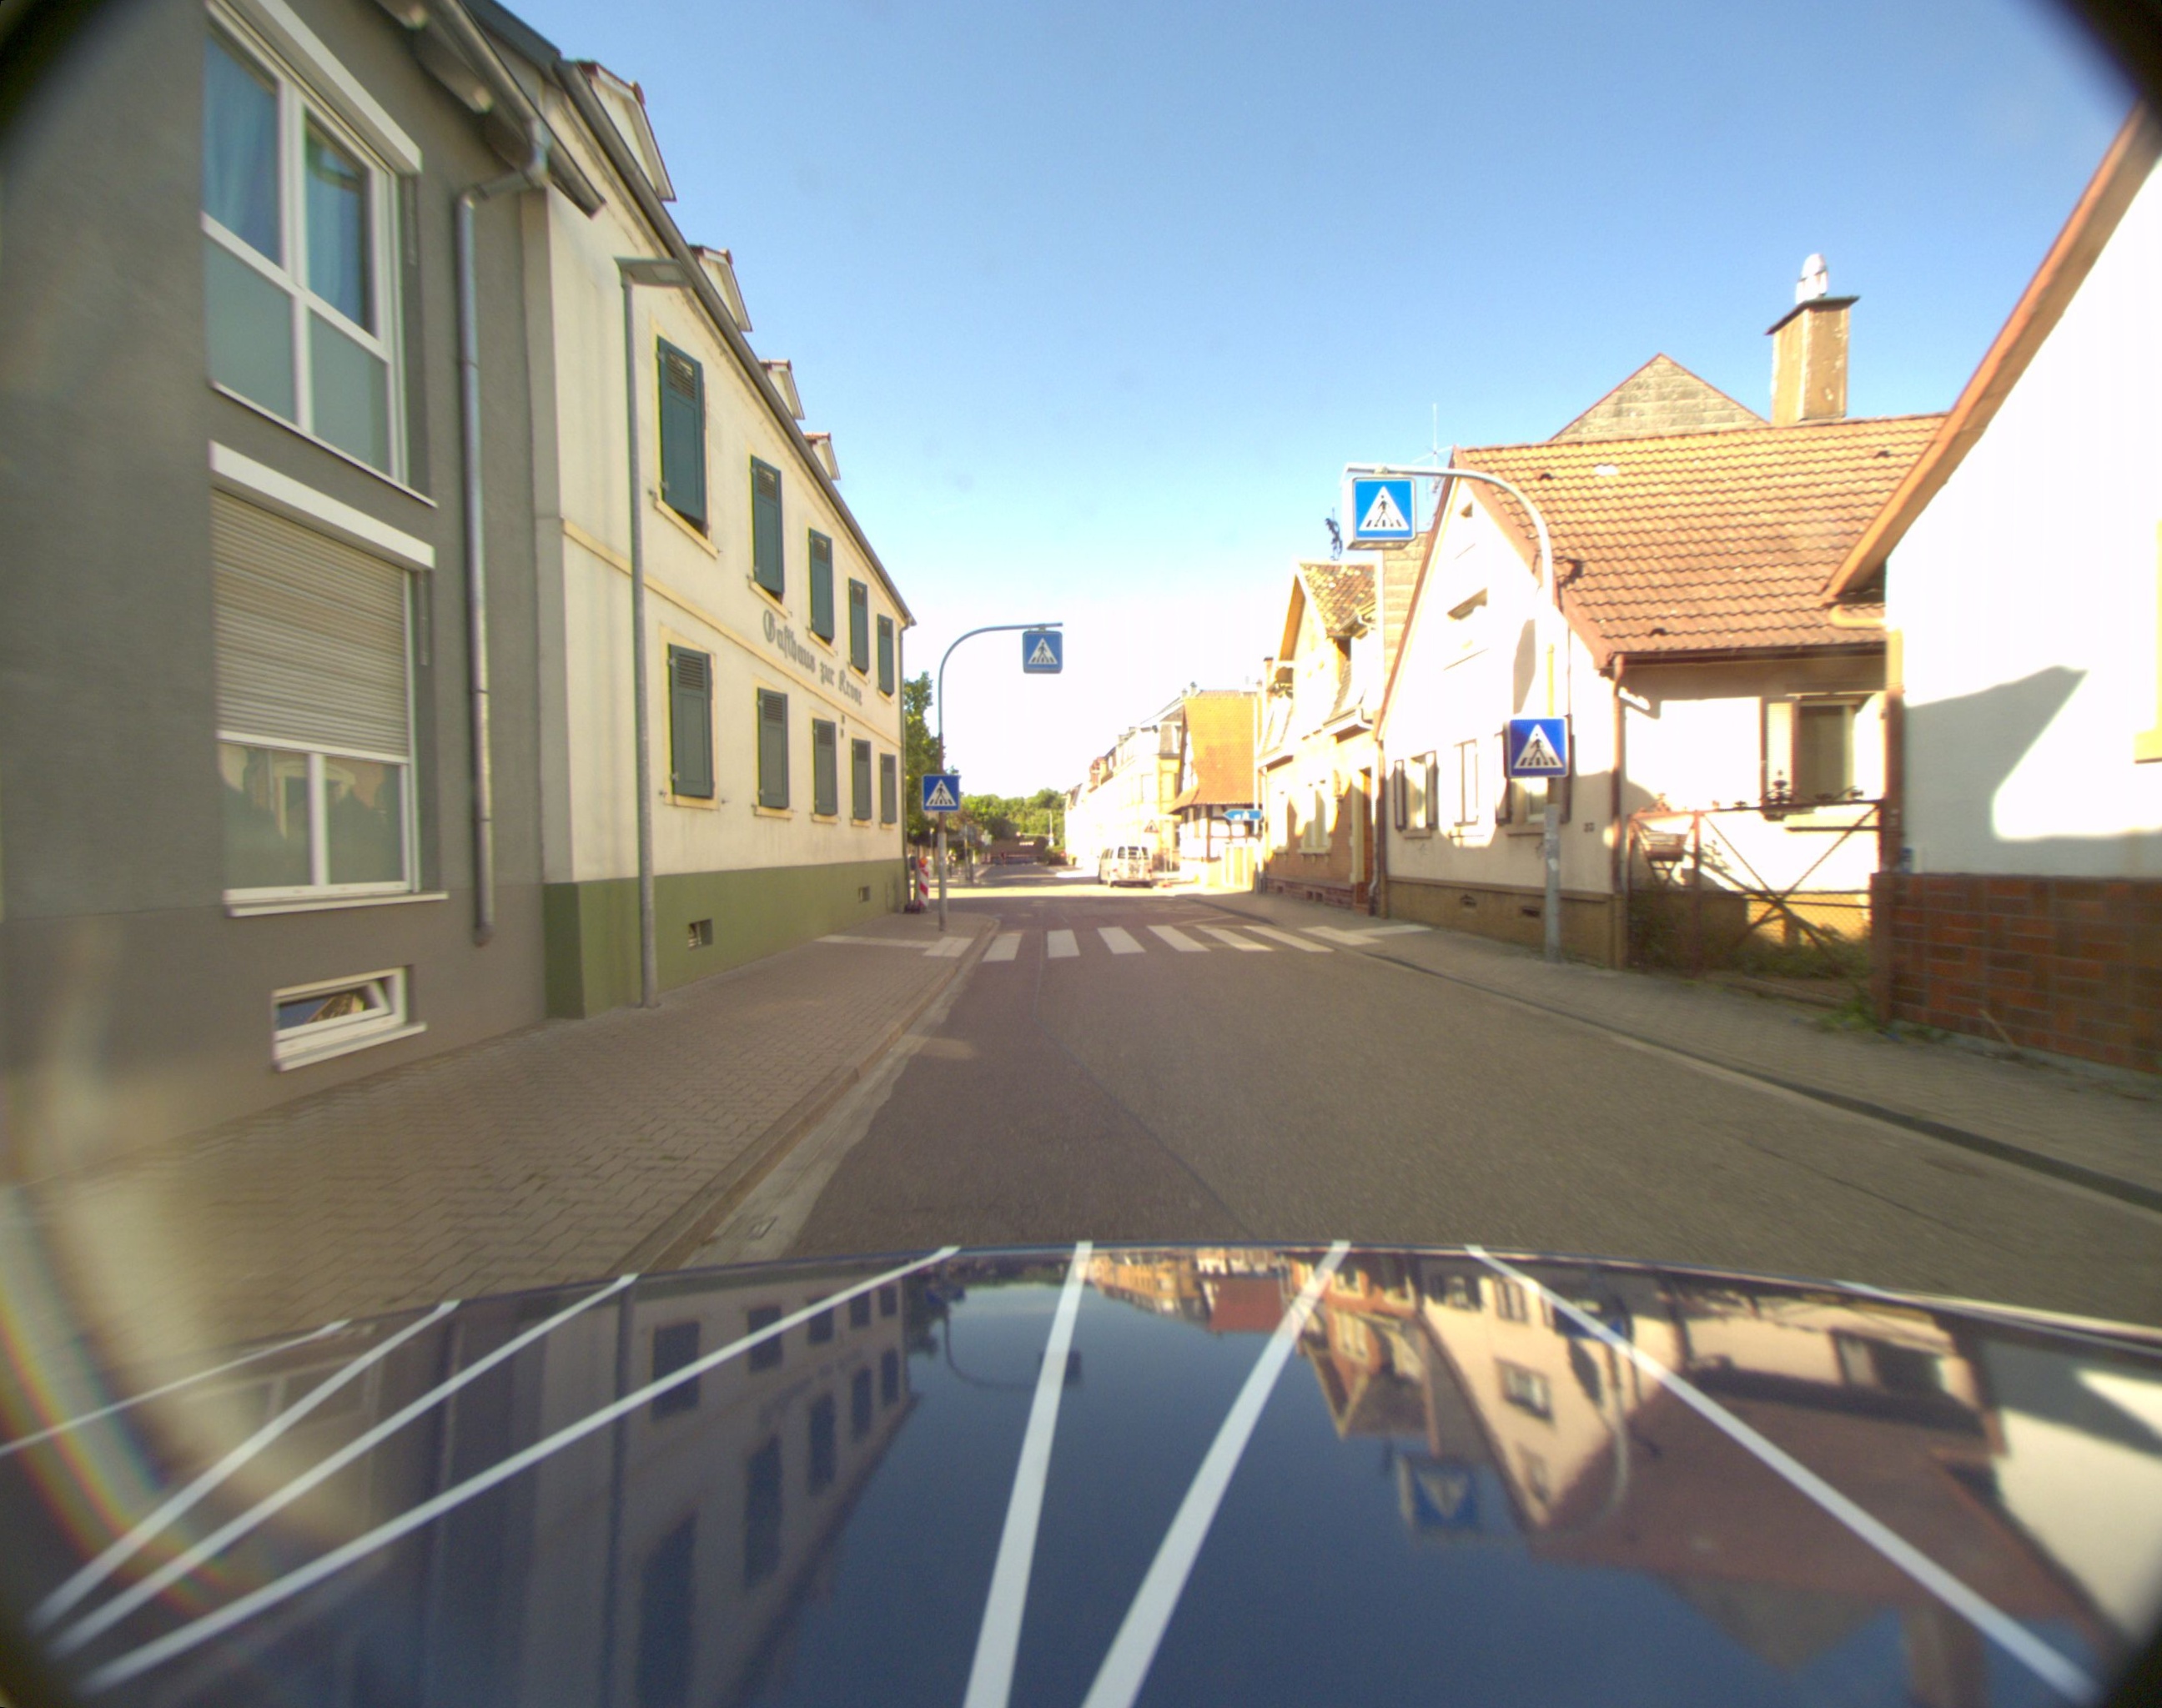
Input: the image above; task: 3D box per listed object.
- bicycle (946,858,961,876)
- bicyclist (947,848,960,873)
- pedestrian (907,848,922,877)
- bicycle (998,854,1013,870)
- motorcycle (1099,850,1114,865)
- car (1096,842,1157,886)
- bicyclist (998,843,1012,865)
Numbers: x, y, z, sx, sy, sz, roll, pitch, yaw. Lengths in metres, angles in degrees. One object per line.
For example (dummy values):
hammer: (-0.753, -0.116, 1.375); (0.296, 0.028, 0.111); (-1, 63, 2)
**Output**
bicycle: (-8.319, 0.825, 49.602); (0.669, 1.058, 1.816); (2, 1, -2)
bicyclist: (-8.304, 0.419, 49.623); (0.669, 1.530, 0.914); (2, 1, -2)
pedestrian: (-10.036, 0.506, 45.843); (0.660, 1.707, 0.827); (-1, 2, 2)
bicycle: (-8.178, 0.800, 82.387); (1.257, 1.543, 3.998); (-4, 1, -2)
motorcycle: (2.265, 0.281, 66.853); (0.848, 1.245, 2.255); (-4, 1, -9)
car: (1.976, 0.398, 34.627); (1.881, 1.870, 4.831); (0, 1, -8)
bicyclist: (-8.228, -0.008, 82.441); (1.257, 2.295, 1.242); (-4, 2, -2)
